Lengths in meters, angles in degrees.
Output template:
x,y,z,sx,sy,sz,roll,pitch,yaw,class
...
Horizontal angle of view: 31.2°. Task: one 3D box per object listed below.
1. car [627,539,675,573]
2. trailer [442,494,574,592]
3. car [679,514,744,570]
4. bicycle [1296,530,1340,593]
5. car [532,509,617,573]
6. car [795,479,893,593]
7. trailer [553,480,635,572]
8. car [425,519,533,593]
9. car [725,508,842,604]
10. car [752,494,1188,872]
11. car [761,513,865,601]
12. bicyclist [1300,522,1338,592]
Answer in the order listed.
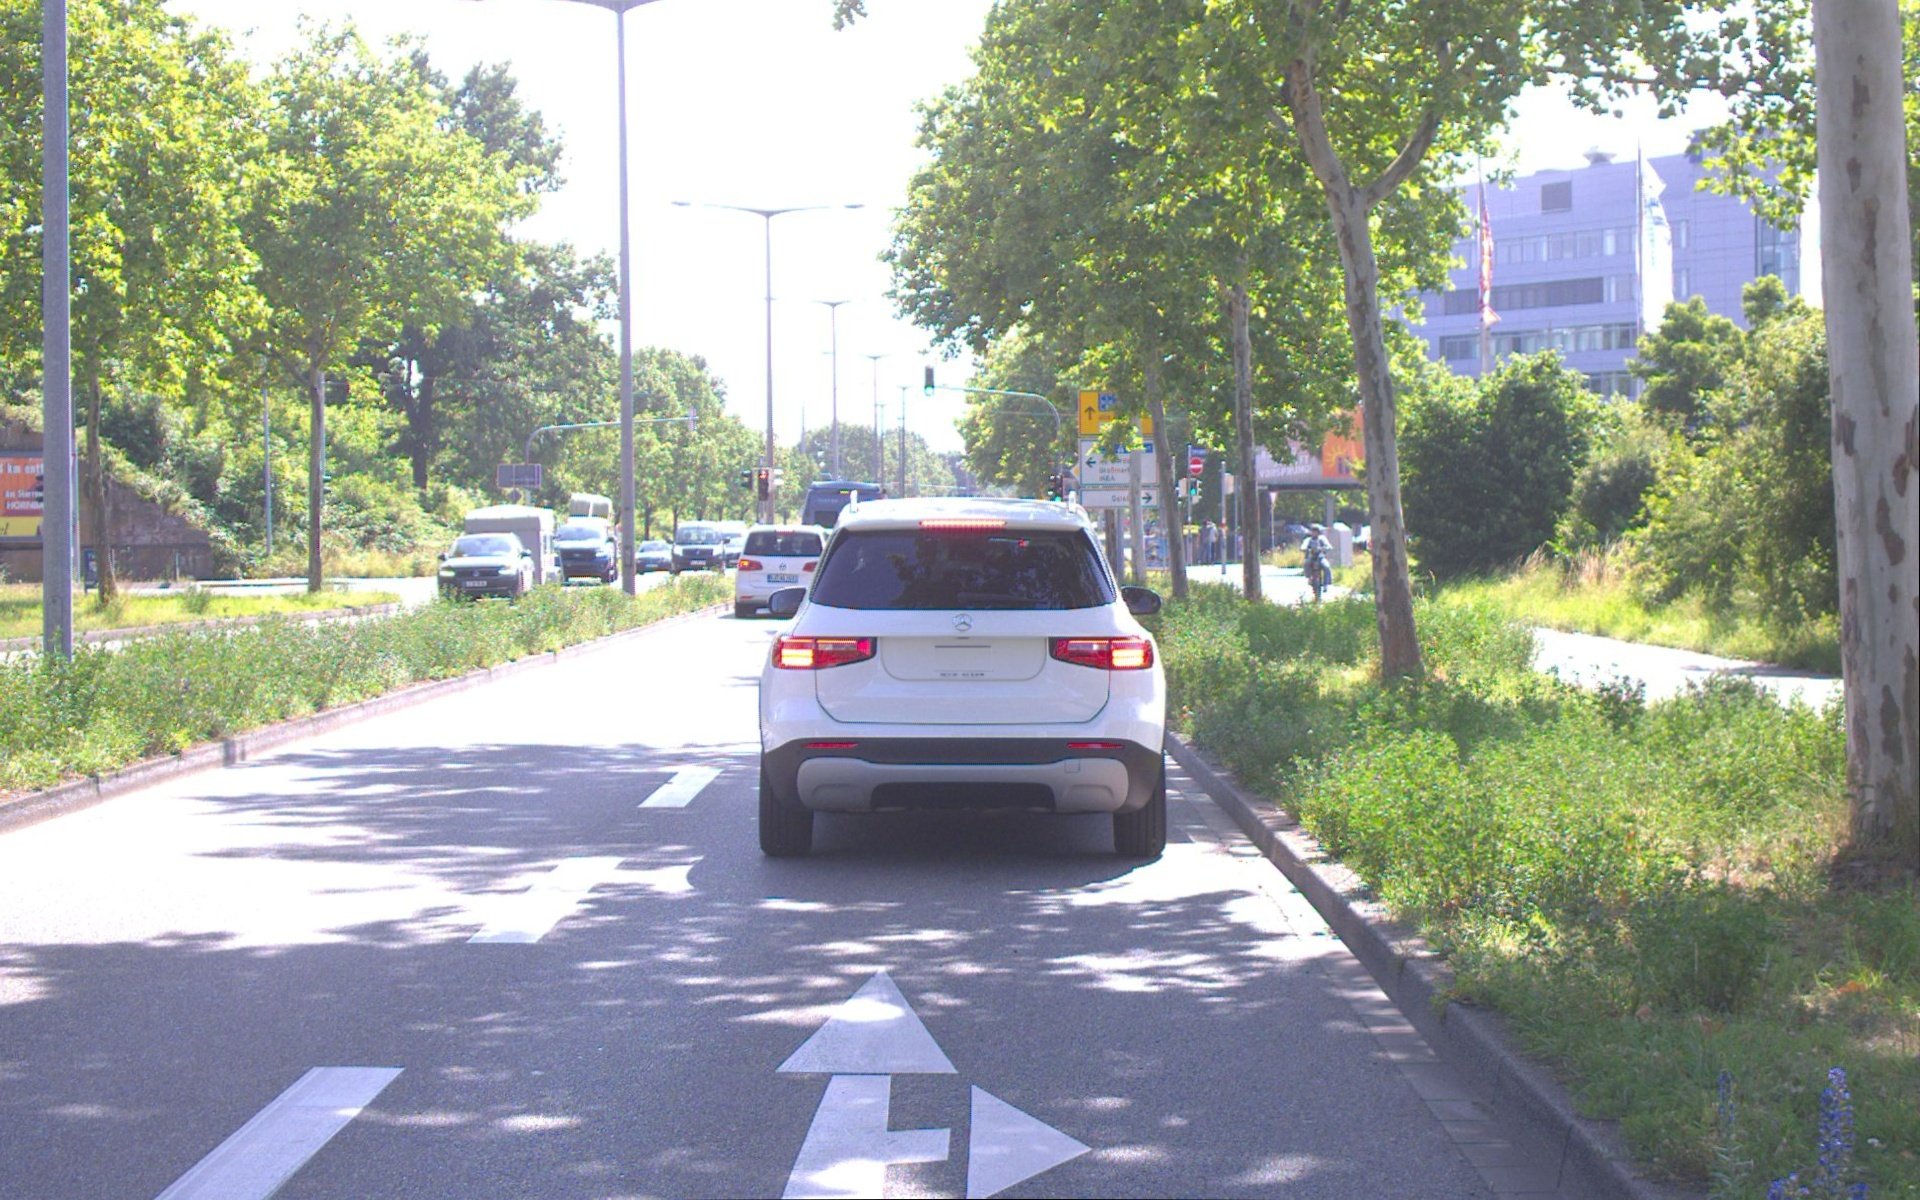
x,y,z,sx,sy,sz,roll,pitch,yaw,class
-12.814,-1.855,142.702,1.701,1.360,3.646,1,1,0,car
-10.685,-1.358,81.668,2.309,2.257,5.538,0,1,1,trailer
-8.262,-1.925,114.404,1.731,1.803,4.232,2,1,1,car
7.622,-0.826,73.253,0.723,1.294,2.095,1,1,1,bicycle
-11.352,-1.743,101.554,1.764,1.783,5.376,2,1,1,car
-2.776,-1.552,83.354,2.081,2.647,4.874,1,1,1,car
-11.257,-2.263,106.016,1.880,2.734,4.829,1,1,1,trailer
-10.694,-0.986,76.711,1.715,1.616,4.361,0,1,1,car
-3.110,-0.796,61.369,1.771,1.641,4.352,1,1,1,car
-0.060,0.316,16.614,1.853,1.602,4.001,0,1,-3,car
-2.844,-0.849,67.272,1.771,1.641,4.084,1,1,1,car
7.641,-0.921,73.247,0.704,1.472,1.010,1,1,1,bicyclist
